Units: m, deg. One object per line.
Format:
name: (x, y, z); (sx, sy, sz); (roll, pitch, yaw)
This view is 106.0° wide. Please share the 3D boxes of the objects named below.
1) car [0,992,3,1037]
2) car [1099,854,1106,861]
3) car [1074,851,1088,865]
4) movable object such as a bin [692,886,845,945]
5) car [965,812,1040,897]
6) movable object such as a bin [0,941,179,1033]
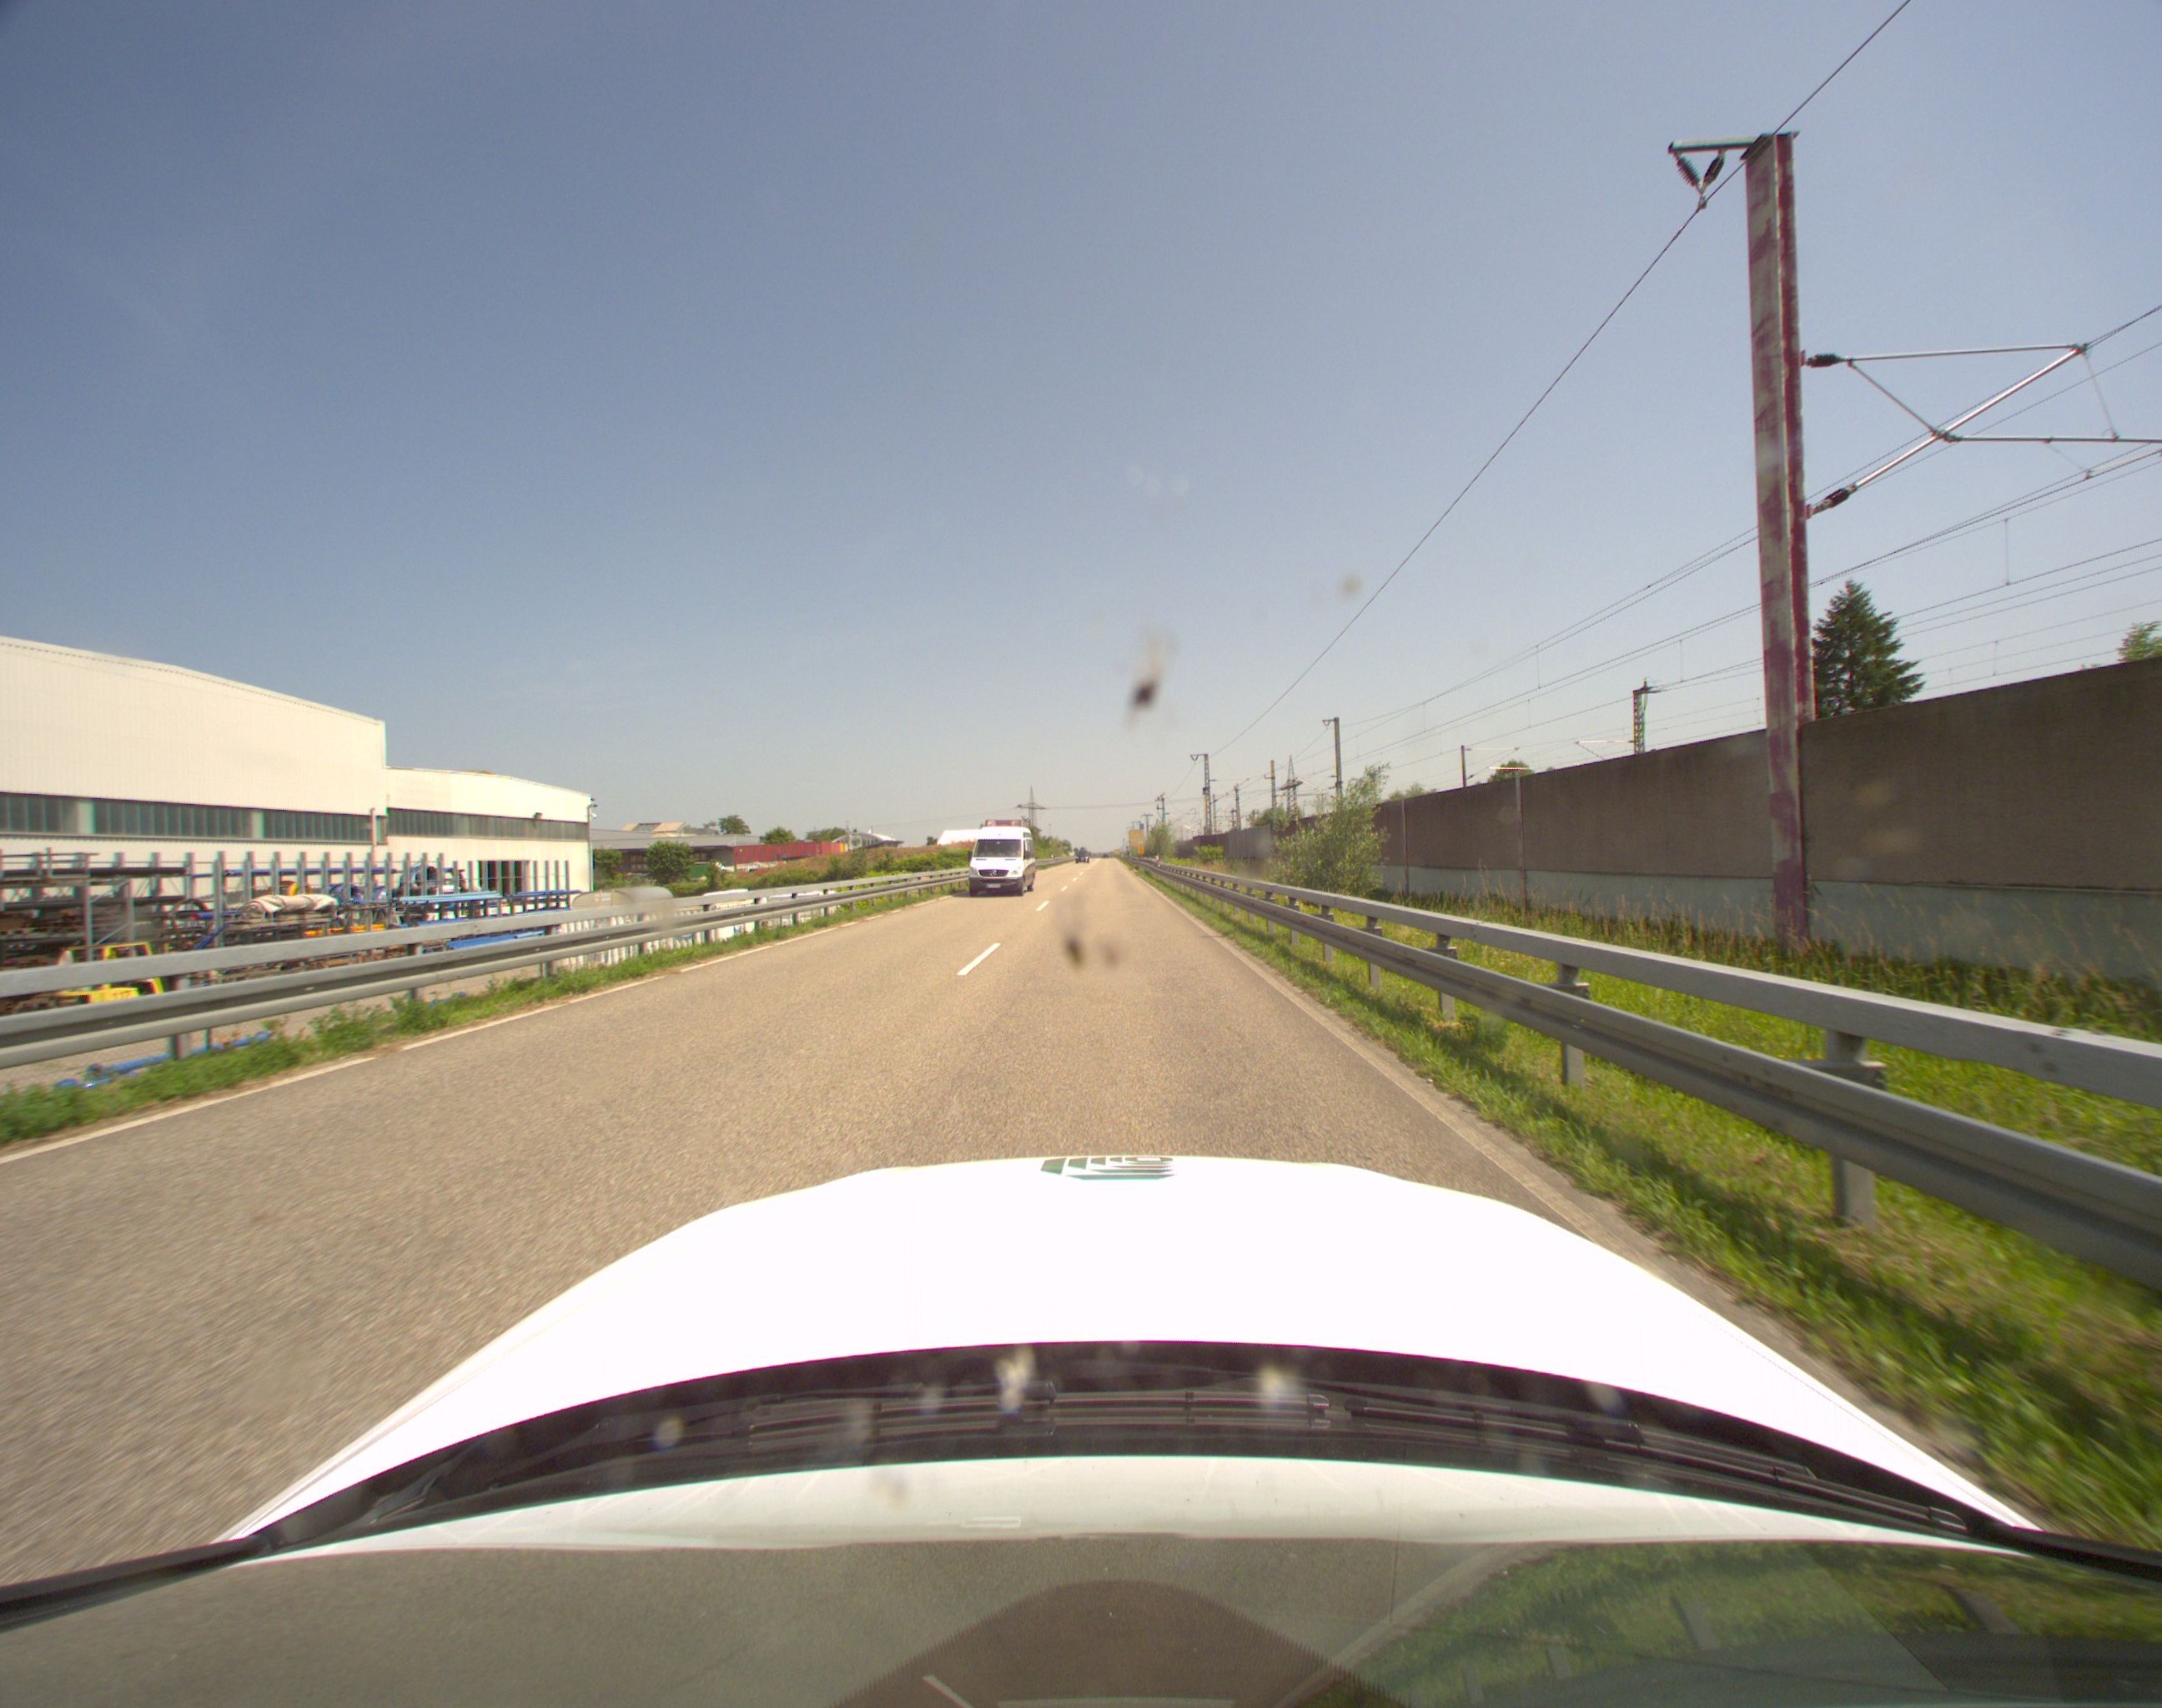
car: (-27.843, 3.783, 18.526); (3.980, 1.520, 1.722); (-5, 0, -4)
car: (6.954, 1.115, 262.235); (1.988, 2.013, 3.997); (-1, 0, -2)
car: (0.022, 0.600, 119.388); (1.886, 2.013, 5.371); (0, 0, 1)
movable object such as a bin: (-14.102, 2.731, 37.096); (5.884, 2.019, 2.446); (-4, 0, -4)
car: (-2.914, 0.033, 31.777); (2.071, 2.962, 6.732); (0, 0, 1)
movable object such as a bin: (-25.978, 3.334, 20.666); (3.856, 2.014, 1.848); (0, -1, -6)
